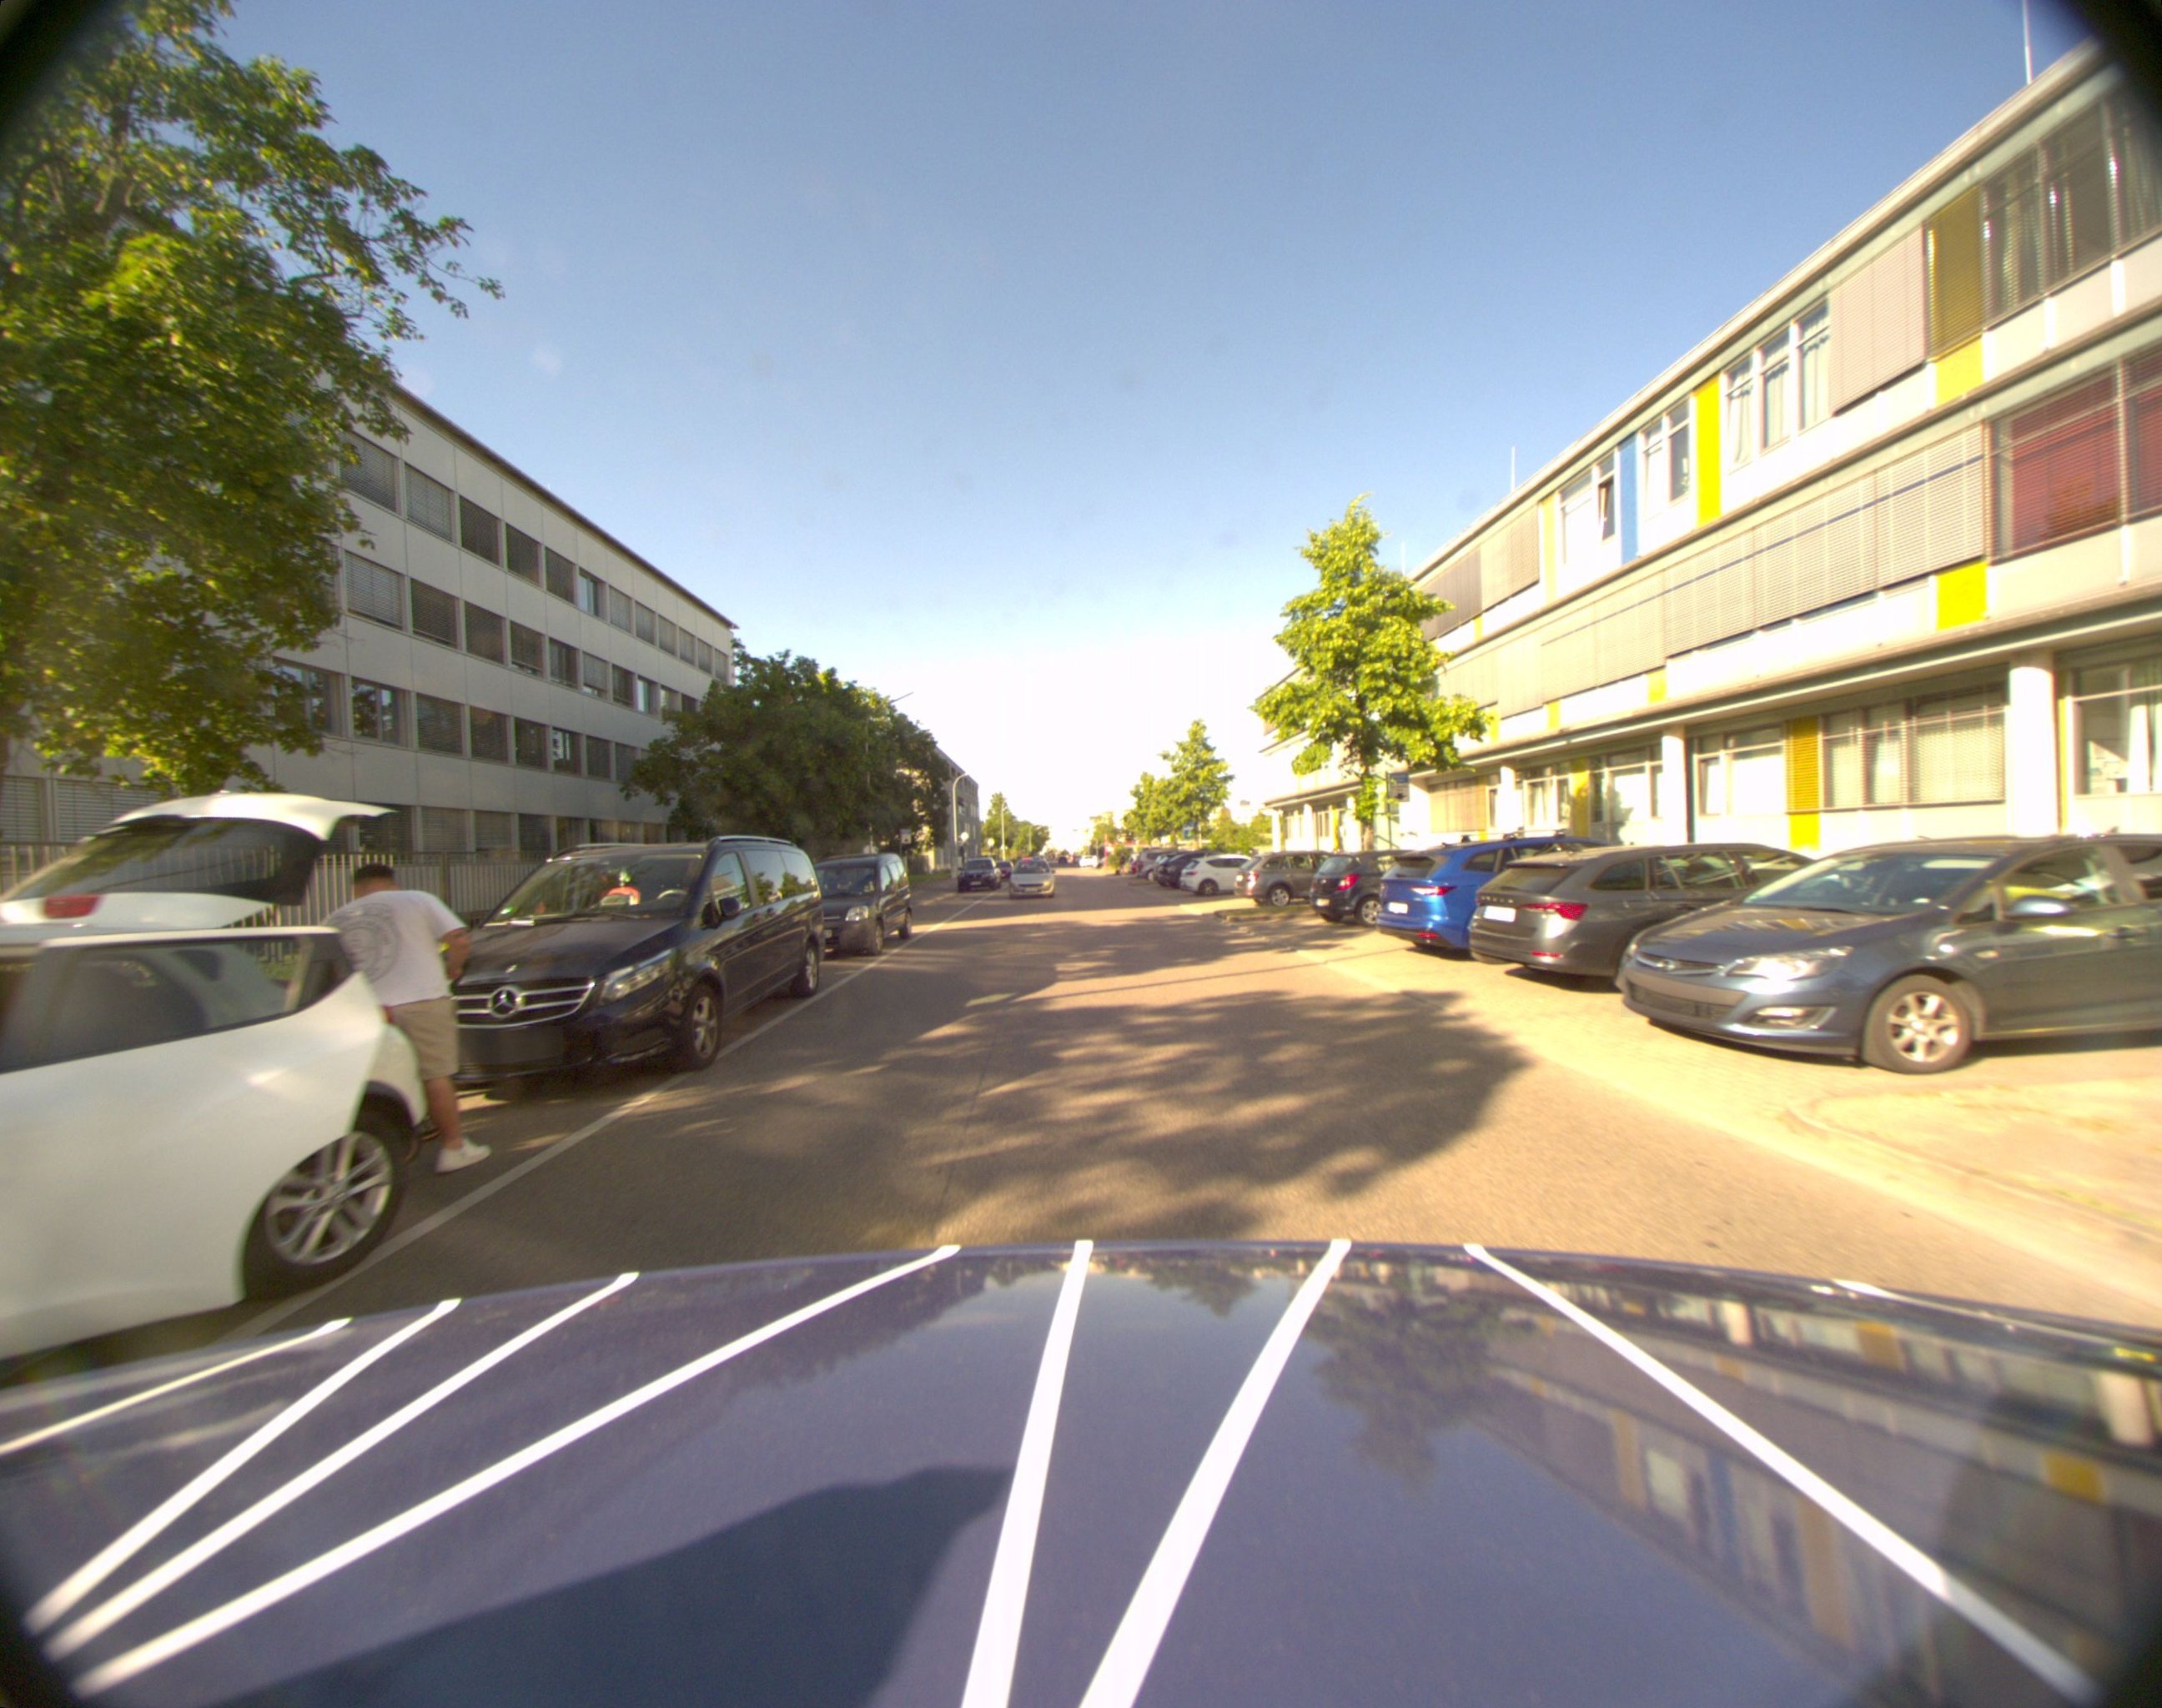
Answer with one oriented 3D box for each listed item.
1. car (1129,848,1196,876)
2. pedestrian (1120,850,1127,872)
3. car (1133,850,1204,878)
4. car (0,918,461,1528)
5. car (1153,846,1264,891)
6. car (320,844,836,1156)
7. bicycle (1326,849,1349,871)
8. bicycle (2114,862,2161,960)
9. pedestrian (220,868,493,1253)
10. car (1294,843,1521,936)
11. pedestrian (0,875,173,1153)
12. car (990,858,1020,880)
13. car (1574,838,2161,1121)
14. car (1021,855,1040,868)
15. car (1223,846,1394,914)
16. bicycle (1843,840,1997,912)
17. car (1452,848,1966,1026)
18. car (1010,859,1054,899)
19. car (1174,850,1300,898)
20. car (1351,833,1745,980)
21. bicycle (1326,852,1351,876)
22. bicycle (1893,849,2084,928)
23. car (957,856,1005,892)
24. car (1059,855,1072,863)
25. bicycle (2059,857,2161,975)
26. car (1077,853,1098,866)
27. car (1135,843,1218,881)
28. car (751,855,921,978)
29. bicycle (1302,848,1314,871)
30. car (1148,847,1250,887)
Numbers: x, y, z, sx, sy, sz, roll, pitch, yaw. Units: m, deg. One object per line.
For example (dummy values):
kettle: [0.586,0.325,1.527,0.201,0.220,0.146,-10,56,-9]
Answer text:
car: [5.493,0.535,51.850,4.358,1.637,2.000,-4,1,3]
pedestrian: [3.282,0.536,58.907,0.369,1.712,0.479,-4,5,-5]
car: [5.568,0.611,48.917,4.358,1.452,2.000,-4,1,3]
car: [-3.771,1.112,1.503,1.669,1.505,4.113,-4,0,-1]
car: [5.558,0.594,33.496,4.361,1.618,1.999,-4,1,-6]
car: [-3.996,0.925,7.367,1.870,1.859,5.020,-4,0,-5]
bicycle: [12.975,0.297,38.444,0.519,1.090,1.659,-2,1,-2]
bicycle: [11.492,0.601,7.384,0.428,1.009,1.779,-1,0,-3]
pedestrian: [-3.652,0.969,3.879,0.589,1.735,0.706,-4,1,17]
car: [6.464,0.643,15.223,3.753,1.480,1.777,-4,1,-10]
pedestrian: [-6.963,1.014,5.123,0.693,1.718,0.775,-1,1,-2]
car: [-5.472,1.061,55.311,1.824,1.435,4.293,-4,0,-2]
car: [6.210,0.735,5.499,4.142,1.458,1.753,-4,1,-3]
car: [-5.803,0.883,87.499,2.000,1.382,3.997,-1,0,-6]
car: [6.095,0.658,20.623,3.992,1.480,1.823,-4,1,-3]
bicycle: [14.905,0.364,13.575,0.648,1.192,1.855,-1,0,-3]
car: [6.285,0.750,7.894,3.998,1.429,1.730,-3,1,-4]
car: [-1.840,0.904,29.286,1.551,1.389,3.453,-1,0,-2]
car: [5.601,0.694,27.641,4.102,1.415,1.823,-4,1,-3]
car: [6.207,0.642,10.446,4.233,1.642,1.959,-2,1,-4]
bicycle: [11.819,0.437,34.922,0.519,1.072,1.659,-1,0,-2]
bicycle: [13.709,0.476,11.576,0.648,1.089,1.855,-1,0,-3]
car: [-5.055,0.988,38.882,1.891,1.616,4.293,-4,0,-2]
car: [-2.885,0.959,143.278,1.913,1.499,3.997,-1,0,-8]
bicycle: [10.945,0.612,7.350,0.637,1.136,1.779,-1,0,-3]
car: [0.797,0.701,94.502,2.000,1.499,3.997,-1,0,-8]
car: [5.384,0.446,43.314,4.359,1.852,2.000,-4,0,-1]
car: [-4.232,0.962,13.865,1.706,1.784,4.293,-4,0,-2]
bicycle: [11.695,0.277,39.130,0.462,1.090,1.513,-3,3,18]
car: [5.625,0.601,36.542,4.361,1.581,1.999,-4,0,-6]
